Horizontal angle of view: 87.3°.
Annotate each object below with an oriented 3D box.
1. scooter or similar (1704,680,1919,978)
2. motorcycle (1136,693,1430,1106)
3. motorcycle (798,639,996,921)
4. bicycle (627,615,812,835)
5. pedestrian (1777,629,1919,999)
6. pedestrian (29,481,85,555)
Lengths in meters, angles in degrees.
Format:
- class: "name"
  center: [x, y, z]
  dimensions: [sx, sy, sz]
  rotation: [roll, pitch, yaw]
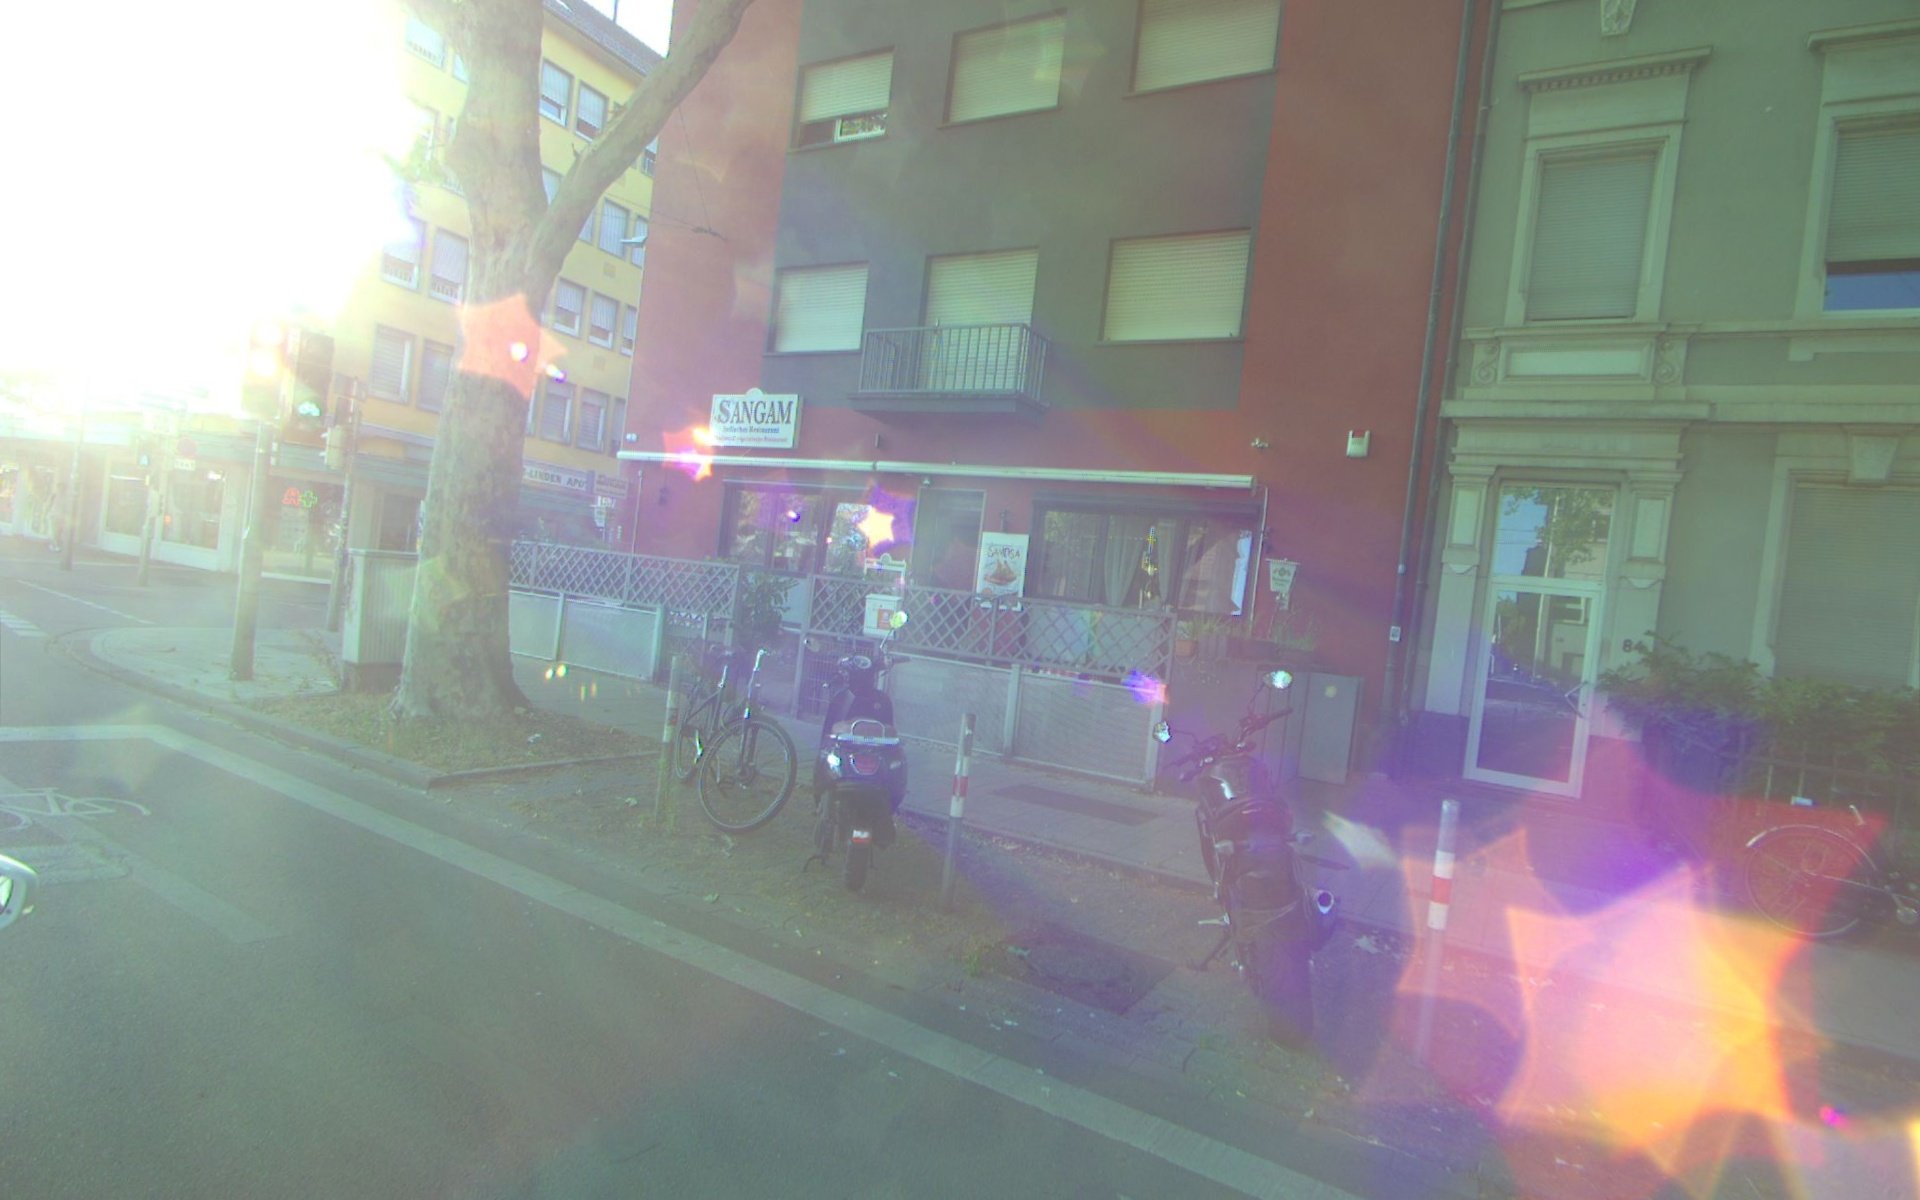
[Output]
- class: "scooter or similar"
  center: [5.735, 1.354, 5.487]
  dimensions: [2.502, 1.488, 0.665]
  rotation: [7, 1, 32]
- class: "motorcycle"
  center: [1.317, 1.151, 4.622]
  dimensions: [0.651, 1.125, 2.212]
  rotation: [7, 2, 4]
- class: "motorcycle"
  center: [-0.446, 0.911, 5.733]
  dimensions: [0.772, 1.126, 1.885]
  rotation: [6, 2, -11]
- class: "bicycle"
  center: [-1.698, 0.782, 6.855]
  dimensions: [0.614, 1.126, 1.784]
  rotation: [5, 3, -31]
- class: "pedestrian"
  center: [4.821, 1.049, 5.091]
  dimensions: [0.802, 1.734, 0.726]
  rotation: [6, 3, 31]
- class: "pedestrian"
  center: [-23.414, -2.123, 26.083]
  dimensions: [0.880, 1.802, 0.744]
  rotation: [6, 1, 31]
